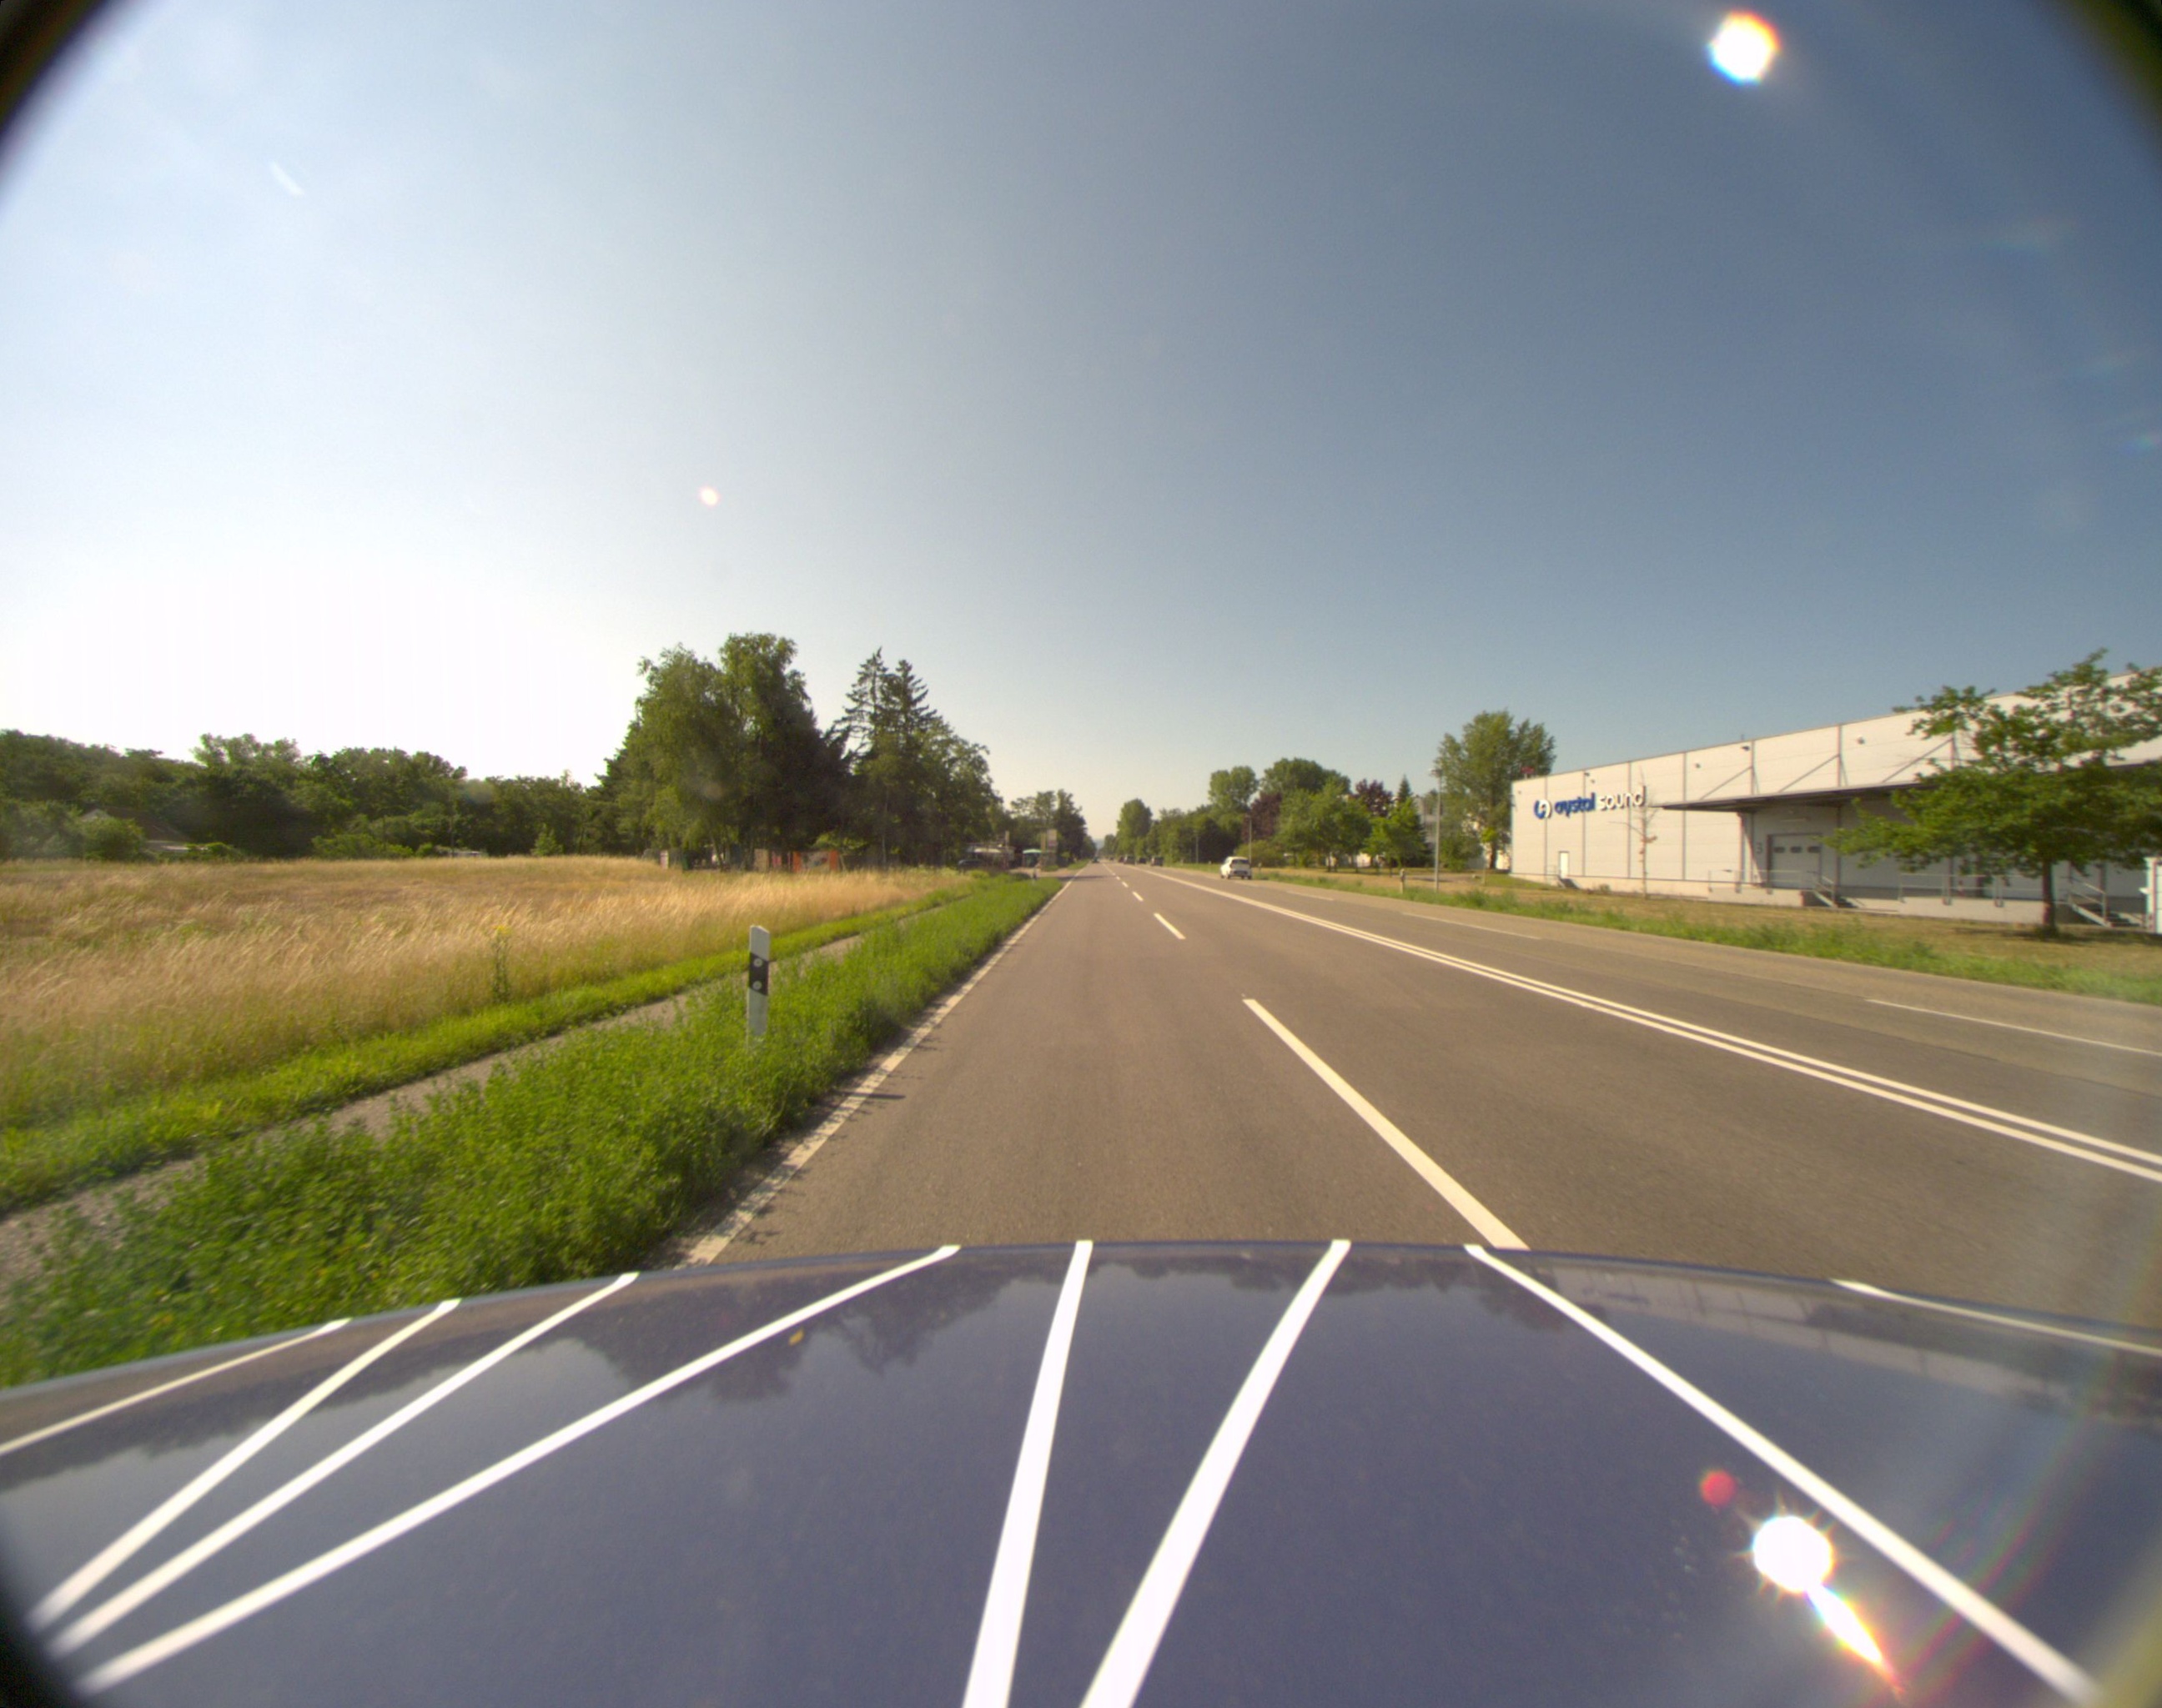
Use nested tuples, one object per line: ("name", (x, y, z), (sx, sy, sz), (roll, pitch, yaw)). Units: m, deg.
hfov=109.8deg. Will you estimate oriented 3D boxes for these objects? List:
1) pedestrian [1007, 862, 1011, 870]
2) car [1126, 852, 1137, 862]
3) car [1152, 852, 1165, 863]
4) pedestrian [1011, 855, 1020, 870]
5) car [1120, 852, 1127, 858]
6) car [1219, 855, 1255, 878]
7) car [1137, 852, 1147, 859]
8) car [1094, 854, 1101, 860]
("pedestrian", (-8.579, 1.446, 90.196), (0.470, 0.978, 0.339), (0, 1, -6))
("car", (8.849, 0.446, 133.459), (1.776, 1.704, 4.569), (2, 0, 2))
("car", (12.058, 0.528, 118.325), (1.733, 1.552, 4.215), (2, 0, 1))
("pedestrian", (-7.790, 1.052, 90.569), (1.100, 1.775, 0.936), (0, 1, -6))
("car", (10.689, 0.319, 190.673), (1.654, 1.489, 3.844), (2, 0, 1))
("car", (10.535, 0.800, 51.645), (1.663, 1.429, 3.735), (2, 0, 1))
("car", (12.650, 0.334, 156.988), (1.656, 1.472, 4.740), (2, 0, 1))
("car", (3.985, 0.787, 181.571), (1.768, 1.403, 4.001), (0, -1, 2))
